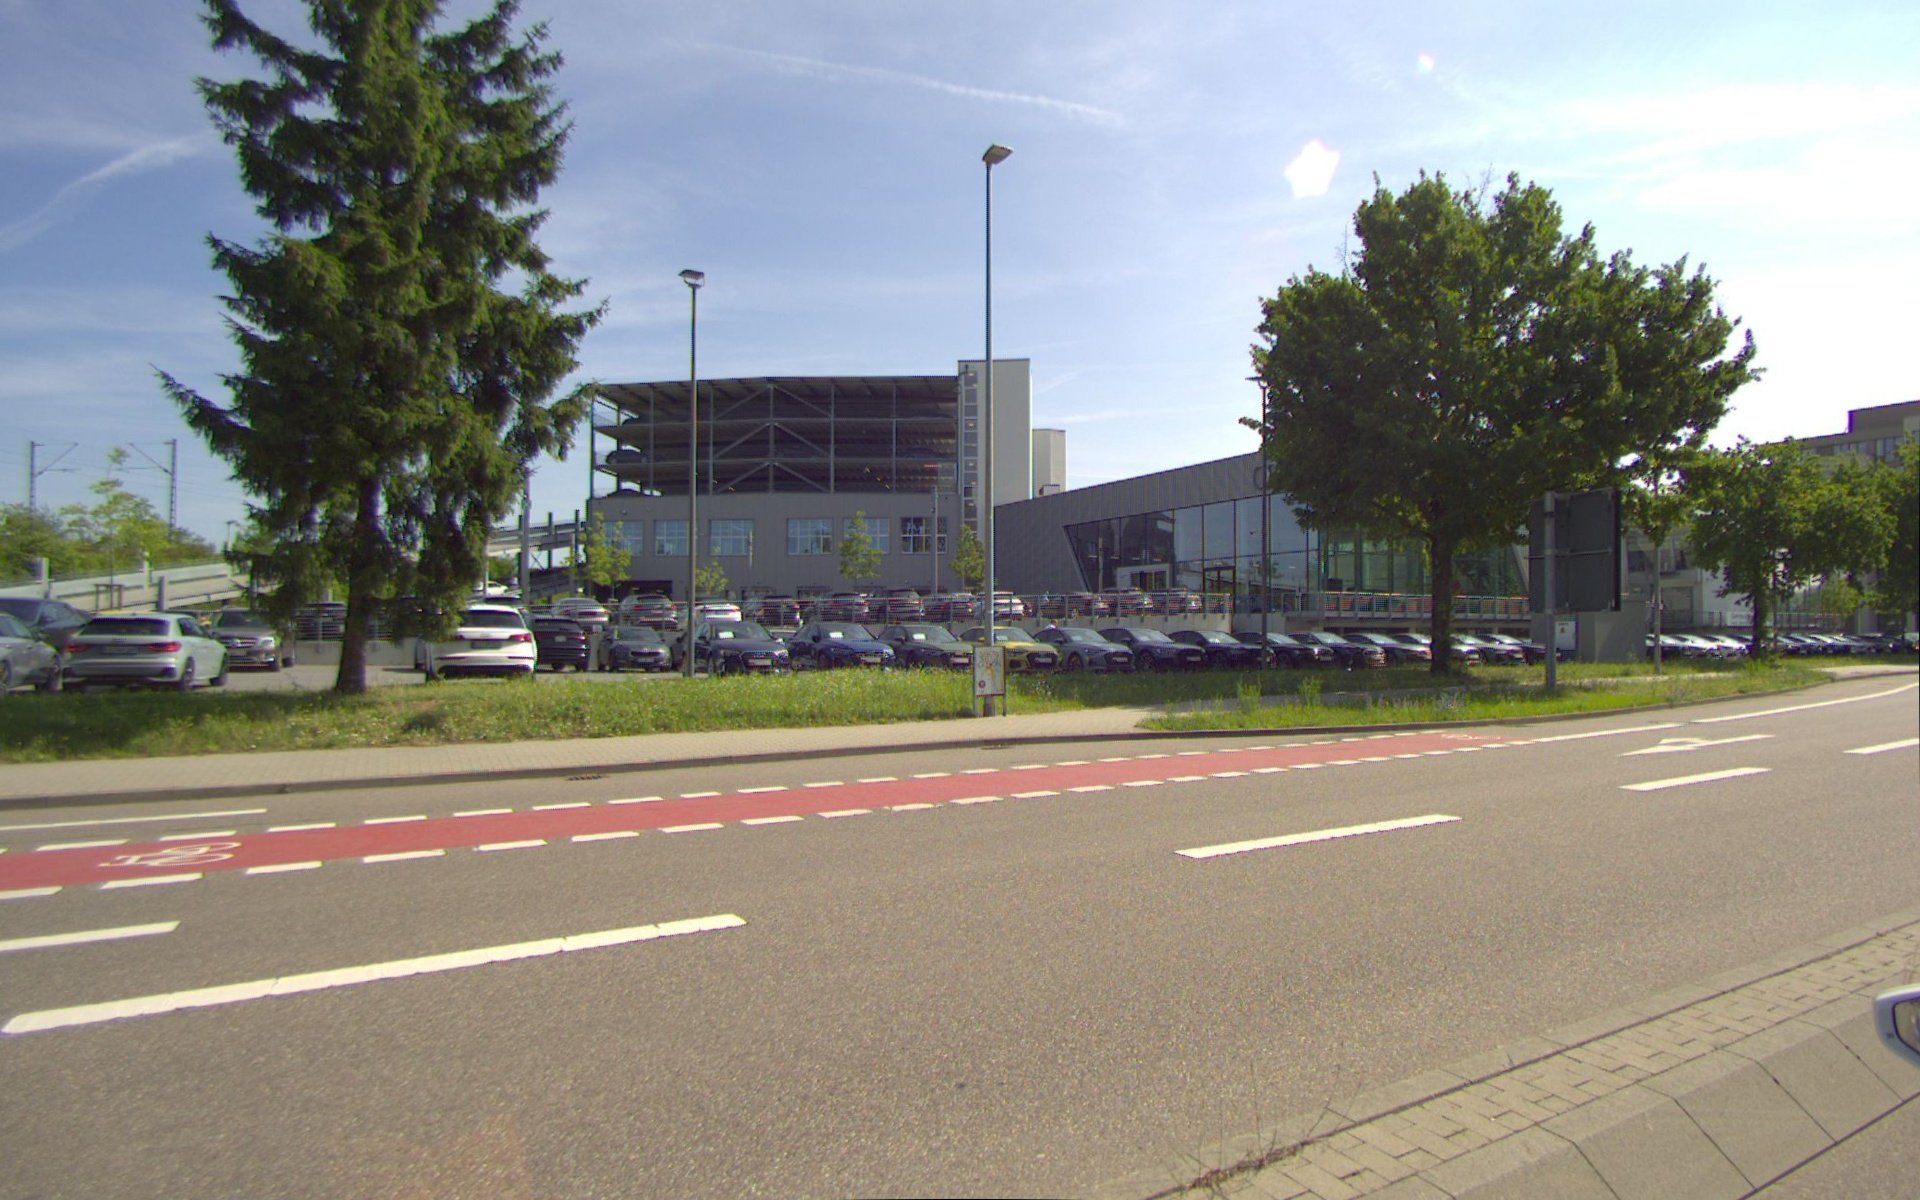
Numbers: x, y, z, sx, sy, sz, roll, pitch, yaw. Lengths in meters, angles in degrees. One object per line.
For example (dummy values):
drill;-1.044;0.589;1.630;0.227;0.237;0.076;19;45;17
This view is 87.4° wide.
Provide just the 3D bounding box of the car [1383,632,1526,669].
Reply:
car;18.525;1.855;37.824;1.981;1.307;4.477;1;-2;-31

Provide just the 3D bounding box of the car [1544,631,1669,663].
car;27.219;1.987;42.414;1.876;1.171;3.968;1;-5;-31

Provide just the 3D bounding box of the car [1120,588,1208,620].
car;10.328;0.197;51.174;1.963;1.516;4.498;1;0;-30

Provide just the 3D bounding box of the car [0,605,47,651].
car;-35.411;0.959;35.533;4.666;1.567;1.815;1;0;2

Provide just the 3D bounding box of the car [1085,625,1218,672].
car;5.642;1.456;30.013;1.963;1.302;3.662;1;-4;-31

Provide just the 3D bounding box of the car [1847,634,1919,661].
car;54.208;2.738;57.998;1.976;1.376;3.972;1;-5;-29

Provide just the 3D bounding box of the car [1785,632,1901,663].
car;47.473;2.558;54.080;1.976;1.460;4.232;1;-5;-29

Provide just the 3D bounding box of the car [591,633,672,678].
car;-10.406;1.715;31.675;1.625;1.213;3.752;1;0;-31

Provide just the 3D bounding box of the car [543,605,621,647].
car;-13.939;0.909;36.905;1.869;1.437;4.476;1;0;-31

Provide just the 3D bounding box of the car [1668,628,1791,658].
car;36.032;2.053;47.149;1.933;1.205;4.154;1;-5;-31

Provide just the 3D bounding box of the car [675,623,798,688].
car;-5.325;1.244;23.645;1.725;1.302;3.771;1;0;-31

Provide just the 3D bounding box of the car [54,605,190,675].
car;-21.762;0.985;26.277;1.976;1.643;3.970;1;0;-29

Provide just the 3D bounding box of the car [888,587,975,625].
car;-1.324;0.309;44.479;1.957;1.571;4.477;1;-2;-31

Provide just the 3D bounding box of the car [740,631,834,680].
car;-5.960;1.836;34.311;1.869;1.437;3.966;1;0;-31

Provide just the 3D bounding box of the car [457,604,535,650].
car;-16.473;0.904;35.544;1.978;1.496;4.178;1;0;-33

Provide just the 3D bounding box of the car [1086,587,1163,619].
car;8.112;0.162;49.813;1.648;1.516;3.968;1;0;-30

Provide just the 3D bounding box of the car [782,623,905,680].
car;-2.976;1.281;24.996;1.725;1.302;3.576;1;-4;-31

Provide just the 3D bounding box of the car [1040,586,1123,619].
car;5.841;0.112;48.693;2.027;1.516;3.968;1;0;-30

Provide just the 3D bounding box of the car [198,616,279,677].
car;-23.097;1.425;32.254;1.980;1.756;3.961;1;0;-35

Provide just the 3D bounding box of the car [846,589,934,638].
car;-3.086;0.623;43.315;1.957;1.988;4.477;1;-2;-31

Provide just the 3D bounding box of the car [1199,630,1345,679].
car;10.177;1.755;33.088;1.898;1.495;4.477;1;-2;-31

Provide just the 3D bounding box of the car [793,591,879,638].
car;-5.254;0.657;42.032;1.957;1.839;4.477;1;-2;-31

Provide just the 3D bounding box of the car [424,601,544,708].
car;-9.762;1.000;20.428;1.975;1.900;4.444;1;0;-28

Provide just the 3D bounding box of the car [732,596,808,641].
car;-7.703;0.785;40.503;1.646;1.728;4.247;1;-2;-31

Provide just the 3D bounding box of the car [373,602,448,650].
car;-18.715;0.850;34.118;1.978;1.496;4.178;1;0;-33

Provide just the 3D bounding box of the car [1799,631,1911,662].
car;49.425;2.592;55.542;1.976;1.460;4.124;1;-5;-29

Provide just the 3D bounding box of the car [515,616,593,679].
car;-12.394;1.393;30.560;1.625;1.745;3.752;1;0;-31

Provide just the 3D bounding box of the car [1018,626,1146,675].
car;3.429;1.454;28.814;1.844;1.302;3.576;1;-4;-31

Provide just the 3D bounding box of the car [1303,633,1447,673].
car;14.583;1.816;35.524;1.898;1.307;4.477;1;-2;-31

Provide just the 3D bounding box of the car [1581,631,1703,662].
car;29.651;2.054;43.799;1.876;1.171;3.968;1;-5;-31

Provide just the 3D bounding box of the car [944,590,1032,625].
car;1.225;0.399;46.155;1.957;1.504;4.477;1;-2;-31

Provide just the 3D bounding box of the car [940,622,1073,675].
car;1.200;1.348;27.705;1.819;1.358;3.868;1;-4;-31

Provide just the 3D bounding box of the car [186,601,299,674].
car;-19.084;0.938;26.880;1.976;1.780;3.970;1;0;-29

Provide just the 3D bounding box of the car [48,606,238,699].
car;-14.947;0.888;18.634;1.823;1.506;3.974;1;0;-26

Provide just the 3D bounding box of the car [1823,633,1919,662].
car;51.918;2.696;56.779;2.027;1.460;4.287;1;-5;-30

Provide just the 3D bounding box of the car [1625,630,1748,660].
car;33.487;2.101;46.381;1.933;1.205;4.154;1;-5;-31

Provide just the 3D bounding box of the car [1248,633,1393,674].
car;12.171;1.770;34.188;1.898;1.307;4.477;1;-2;-31

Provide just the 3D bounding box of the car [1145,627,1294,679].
car;8.040;1.606;31.510;1.957;1.495;4.477;1;-2;-31

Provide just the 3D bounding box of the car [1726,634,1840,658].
car;41.518;2.339;50.758;1.678;1.047;4.089;1;-5;-31

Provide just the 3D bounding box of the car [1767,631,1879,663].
car;45.183;2.470;52.668;1.976;1.460;3.972;1;-5;-29

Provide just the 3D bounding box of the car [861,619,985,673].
car;-1.039;1.224;26.181;1.644;1.302;3.724;1;-4;-31

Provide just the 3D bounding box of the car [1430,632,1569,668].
car;21.023;1.925;39.296;1.898;1.307;4.477;1;-2;-31

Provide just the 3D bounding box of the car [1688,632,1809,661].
car;37.991;2.247;48.509;1.933;1.205;4.154;1;-5;-31

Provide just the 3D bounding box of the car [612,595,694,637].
car;-11.779;0.657;38.383;1.957;1.504;4.477;1;-2;-31

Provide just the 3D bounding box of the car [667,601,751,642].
car;-9.950;0.861;39.592;1.957;1.504;4.477;1;-2;-31

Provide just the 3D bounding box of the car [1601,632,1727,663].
car;31.472;2.141;45.019;2.064;1.171;4.154;1;-5;-31

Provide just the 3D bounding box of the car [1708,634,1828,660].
car;39.846;2.337;49.629;1.933;1.091;4.154;1;-5;-31

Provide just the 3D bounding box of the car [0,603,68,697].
car;-16.142;0.752;16.244;1.795;1.389;3.663;1;0;-30

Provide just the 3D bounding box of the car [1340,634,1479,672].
car;16.250;1.883;36.546;1.672;1.307;4.477;1;-2;-31
